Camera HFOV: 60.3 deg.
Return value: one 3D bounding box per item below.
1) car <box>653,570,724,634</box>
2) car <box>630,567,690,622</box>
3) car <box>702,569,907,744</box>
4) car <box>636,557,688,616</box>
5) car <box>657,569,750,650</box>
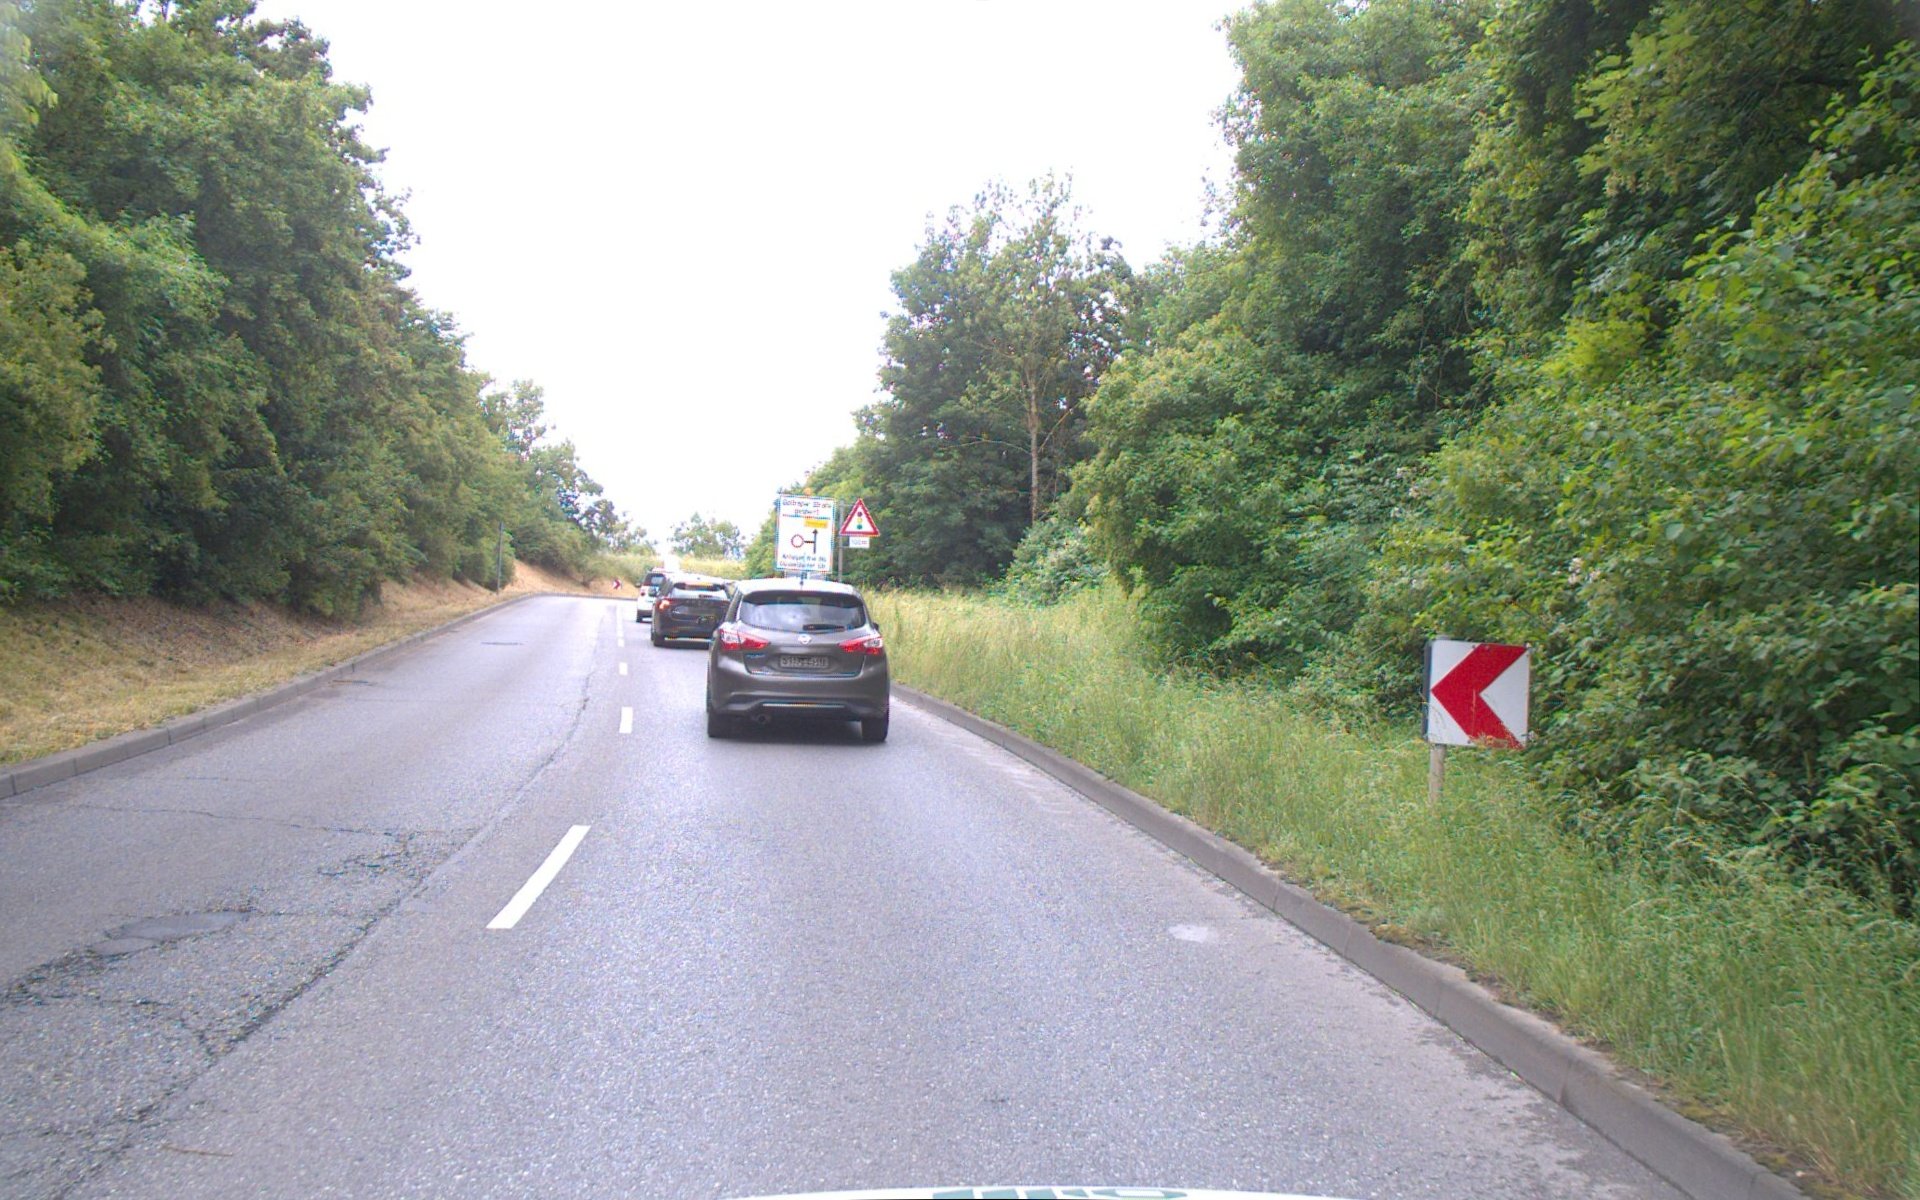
[{"bbox_3d":[-7.073,0.025,42.862,1.705,1.583,3.534,1,1,-11],"label":"car"},{"bbox_3d":[-9.152,-0.180,50.358,1.705,1.583,3.534,1,1,-11],"label":"car"},{"bbox_3d":[-1.697,0.503,16.987,1.797,1.583,3.491,1,1,-10],"label":"car"},{"bbox_3d":[-10.418,-0.481,57.774,1.705,1.968,3.534,1,1,-11],"label":"car"},{"bbox_3d":[-5.487,0.166,35.048,1.797,1.583,3.615,1,1,-11],"label":"car"}]
